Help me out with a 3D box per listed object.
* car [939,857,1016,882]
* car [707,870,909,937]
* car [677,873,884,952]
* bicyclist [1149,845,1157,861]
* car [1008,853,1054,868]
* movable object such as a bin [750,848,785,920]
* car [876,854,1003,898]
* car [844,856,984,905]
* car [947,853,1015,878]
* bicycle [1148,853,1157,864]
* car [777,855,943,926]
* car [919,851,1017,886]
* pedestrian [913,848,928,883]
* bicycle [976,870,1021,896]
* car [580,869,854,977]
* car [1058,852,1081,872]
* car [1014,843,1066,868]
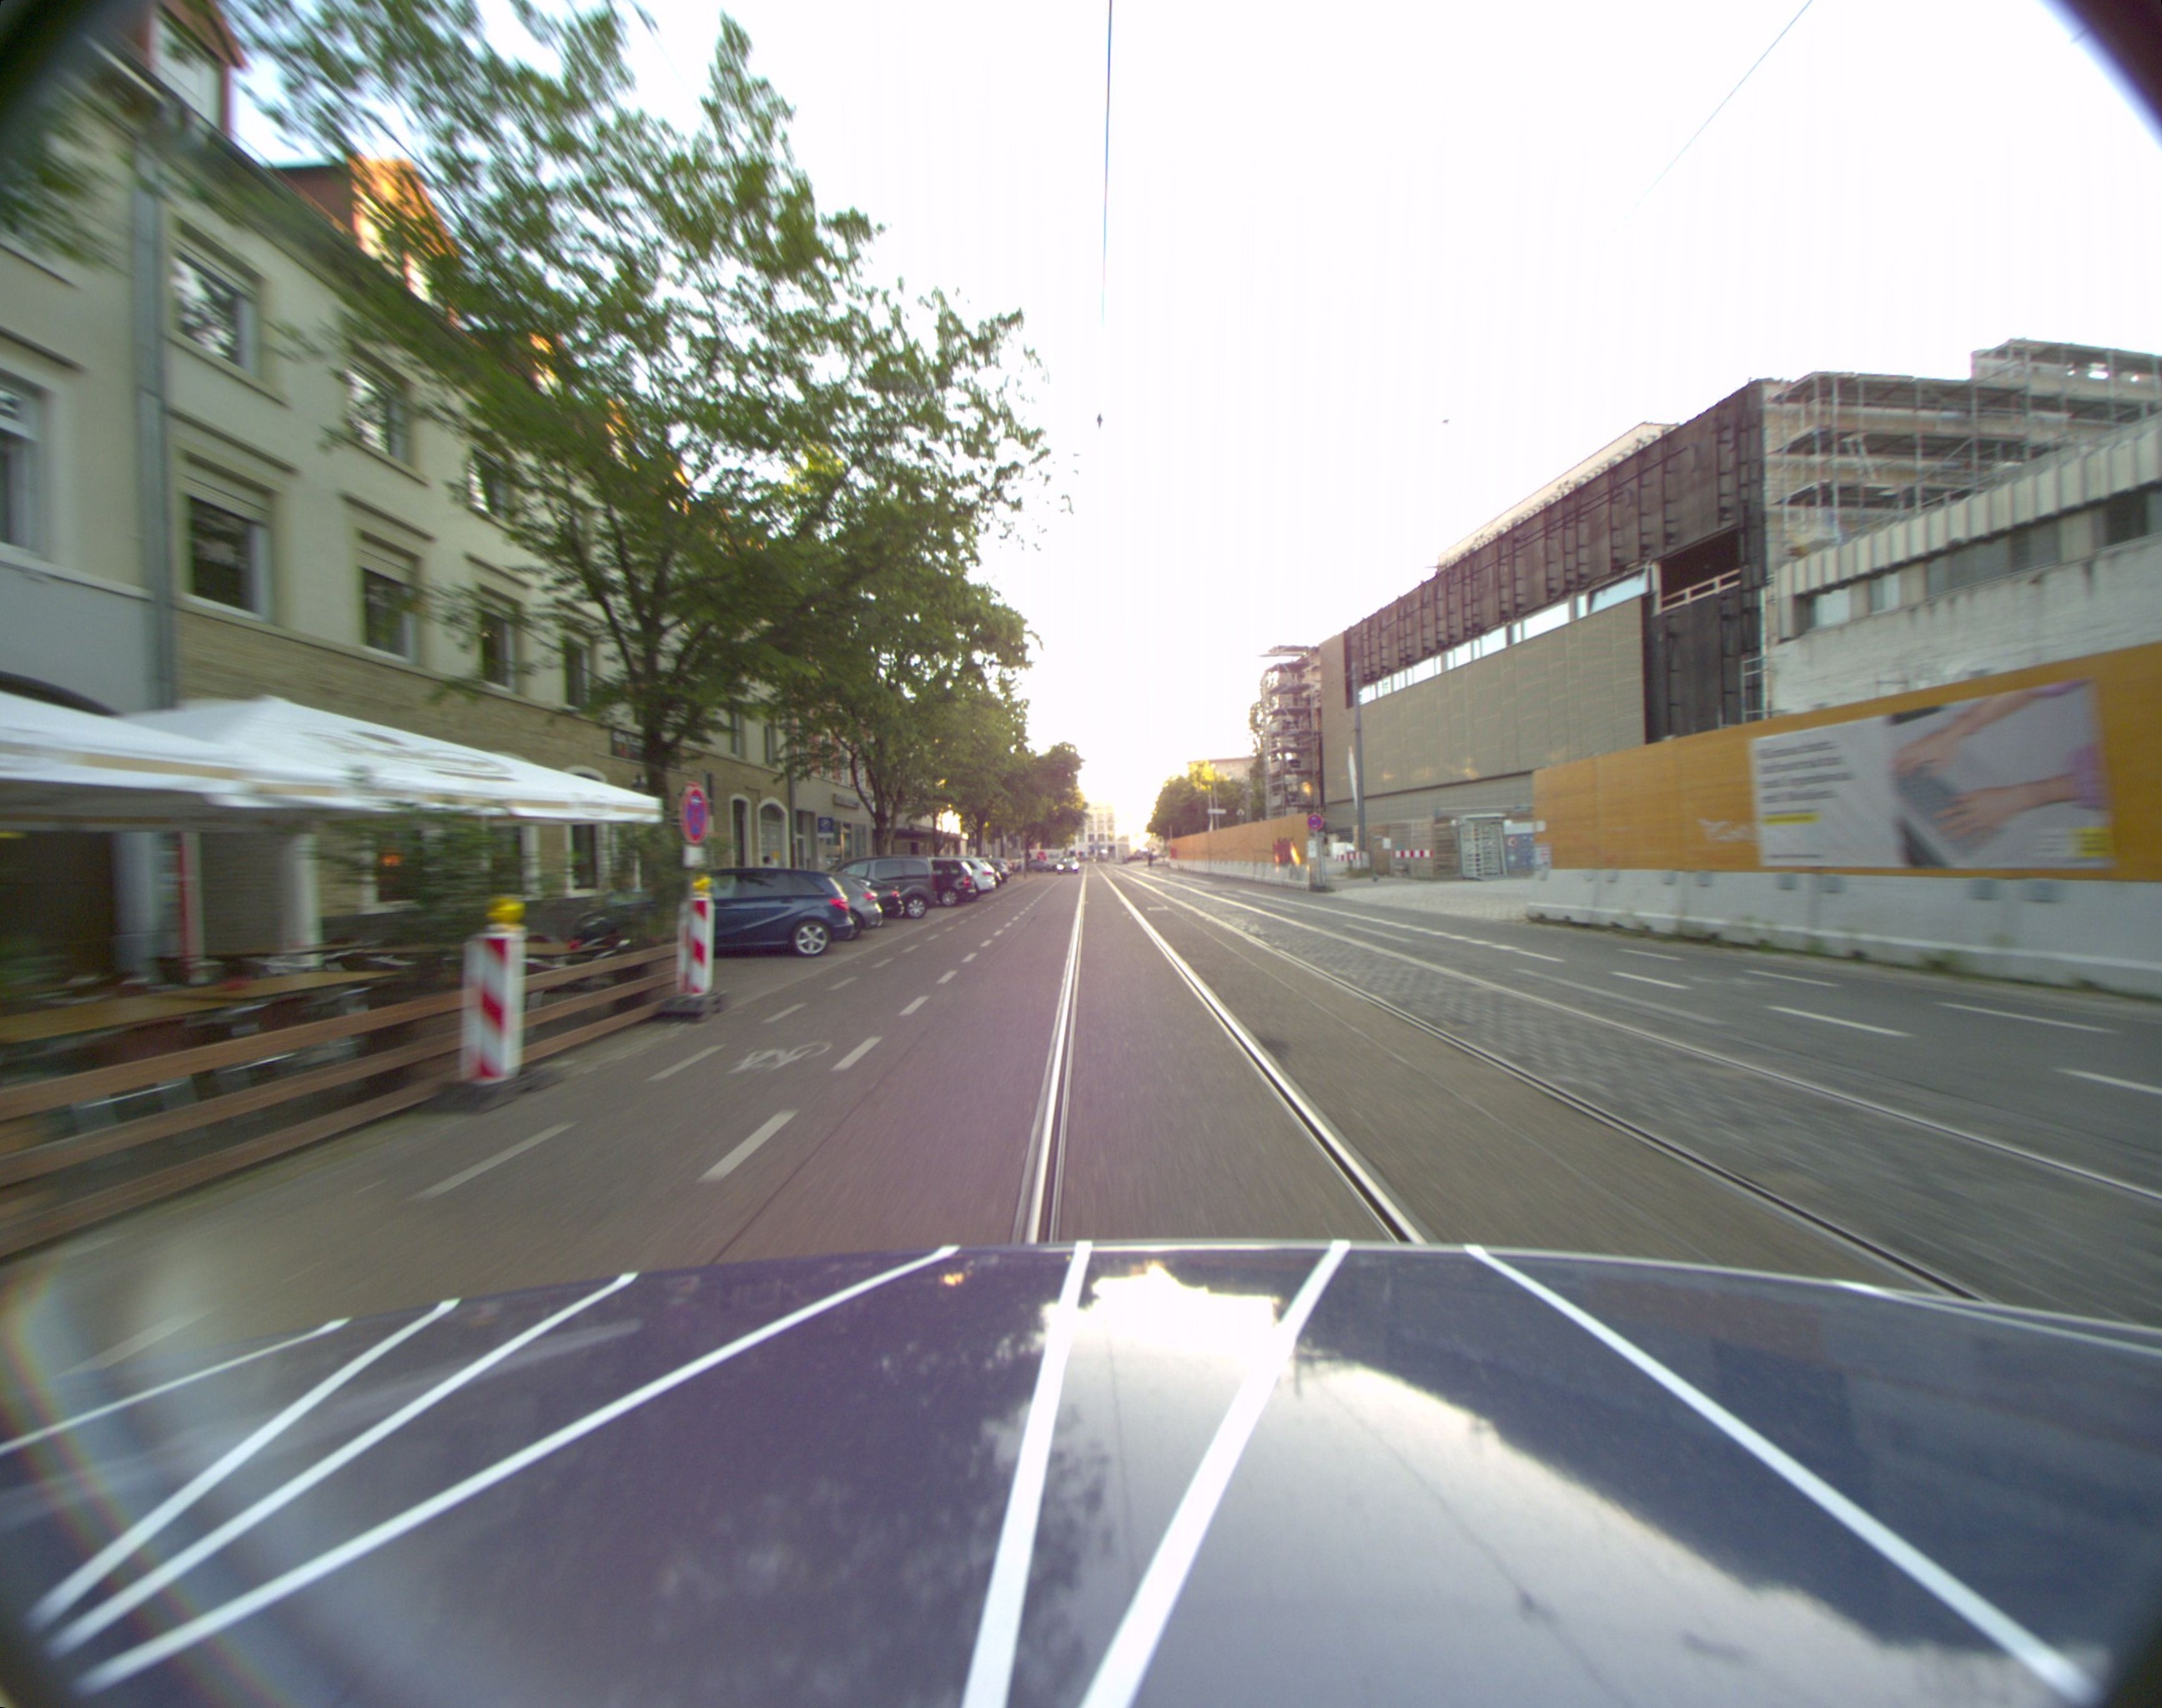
[{"bbox_3d":[-6.225,0.941,45.787,4.174,1.456,1.967,1,0,-27],"label":"car"},{"bbox_3d":[-6.525,1.110,18.283,4.331,1.381,1.802,1,0,-30],"label":"car"},{"bbox_3d":[-6.126,1.139,15.780,3.788,1.399,1.703,0,0,-21],"label":"car"},{"bbox_3d":[7.806,-0.082,82.646,0.770,1.656,1.018,-2,1,0],"label":"bicyclist"},{"bbox_3d":[-5.363,0.728,81.693,4.614,1.504,1.859,1,-1,-27],"label":"car"},{"bbox_3d":[-8.958,0.847,21.713,0.614,2.002,0.695,-2,1,-1],"label":"movable object such as a bin"},{"bbox_3d":[-5.517,0.844,30.136,4.660,1.678,2.008,0,0,0],"label":"car"},{"bbox_3d":[-5.913,0.923,27.346,4.662,1.678,2.007,0,0,-5],"label":"car"},{"bbox_3d":[-6.773,0.770,51.530,4.176,1.654,1.837,1,0,-34],"label":"car"},{"bbox_3d":[7.827,0.468,82.734,0.770,1.221,1.936,-2,0,0],"label":"bicycle"},{"bbox_3d":[-6.194,0.939,21.341,4.167,1.796,2.003,0,1,-28],"label":"car"},{"bbox_3d":[-6.217,0.773,41.581,4.984,1.816,2.204,1,0,-17],"label":"car"},{"bbox_3d":[-9.281,0.653,43.895,0.693,1.974,0.786,1,1,1],"label":"pedestrian"},{"bbox_3d":[-3.544,1.245,32.601,1.842,1.096,0.497,1,0,-13],"label":"bicycle"},{"bbox_3d":[-6.083,1.078,13.044,3.979,1.544,1.702,0,1,-25],"label":"car"},{"bbox_3d":[-1.041,0.731,69.049,1.840,1.631,4.169,-5,0,1],"label":"car"},{"bbox_3d":[-4.722,0.181,88.116,5.650,2.678,2.166,-2,0,-34],"label":"car"}]
